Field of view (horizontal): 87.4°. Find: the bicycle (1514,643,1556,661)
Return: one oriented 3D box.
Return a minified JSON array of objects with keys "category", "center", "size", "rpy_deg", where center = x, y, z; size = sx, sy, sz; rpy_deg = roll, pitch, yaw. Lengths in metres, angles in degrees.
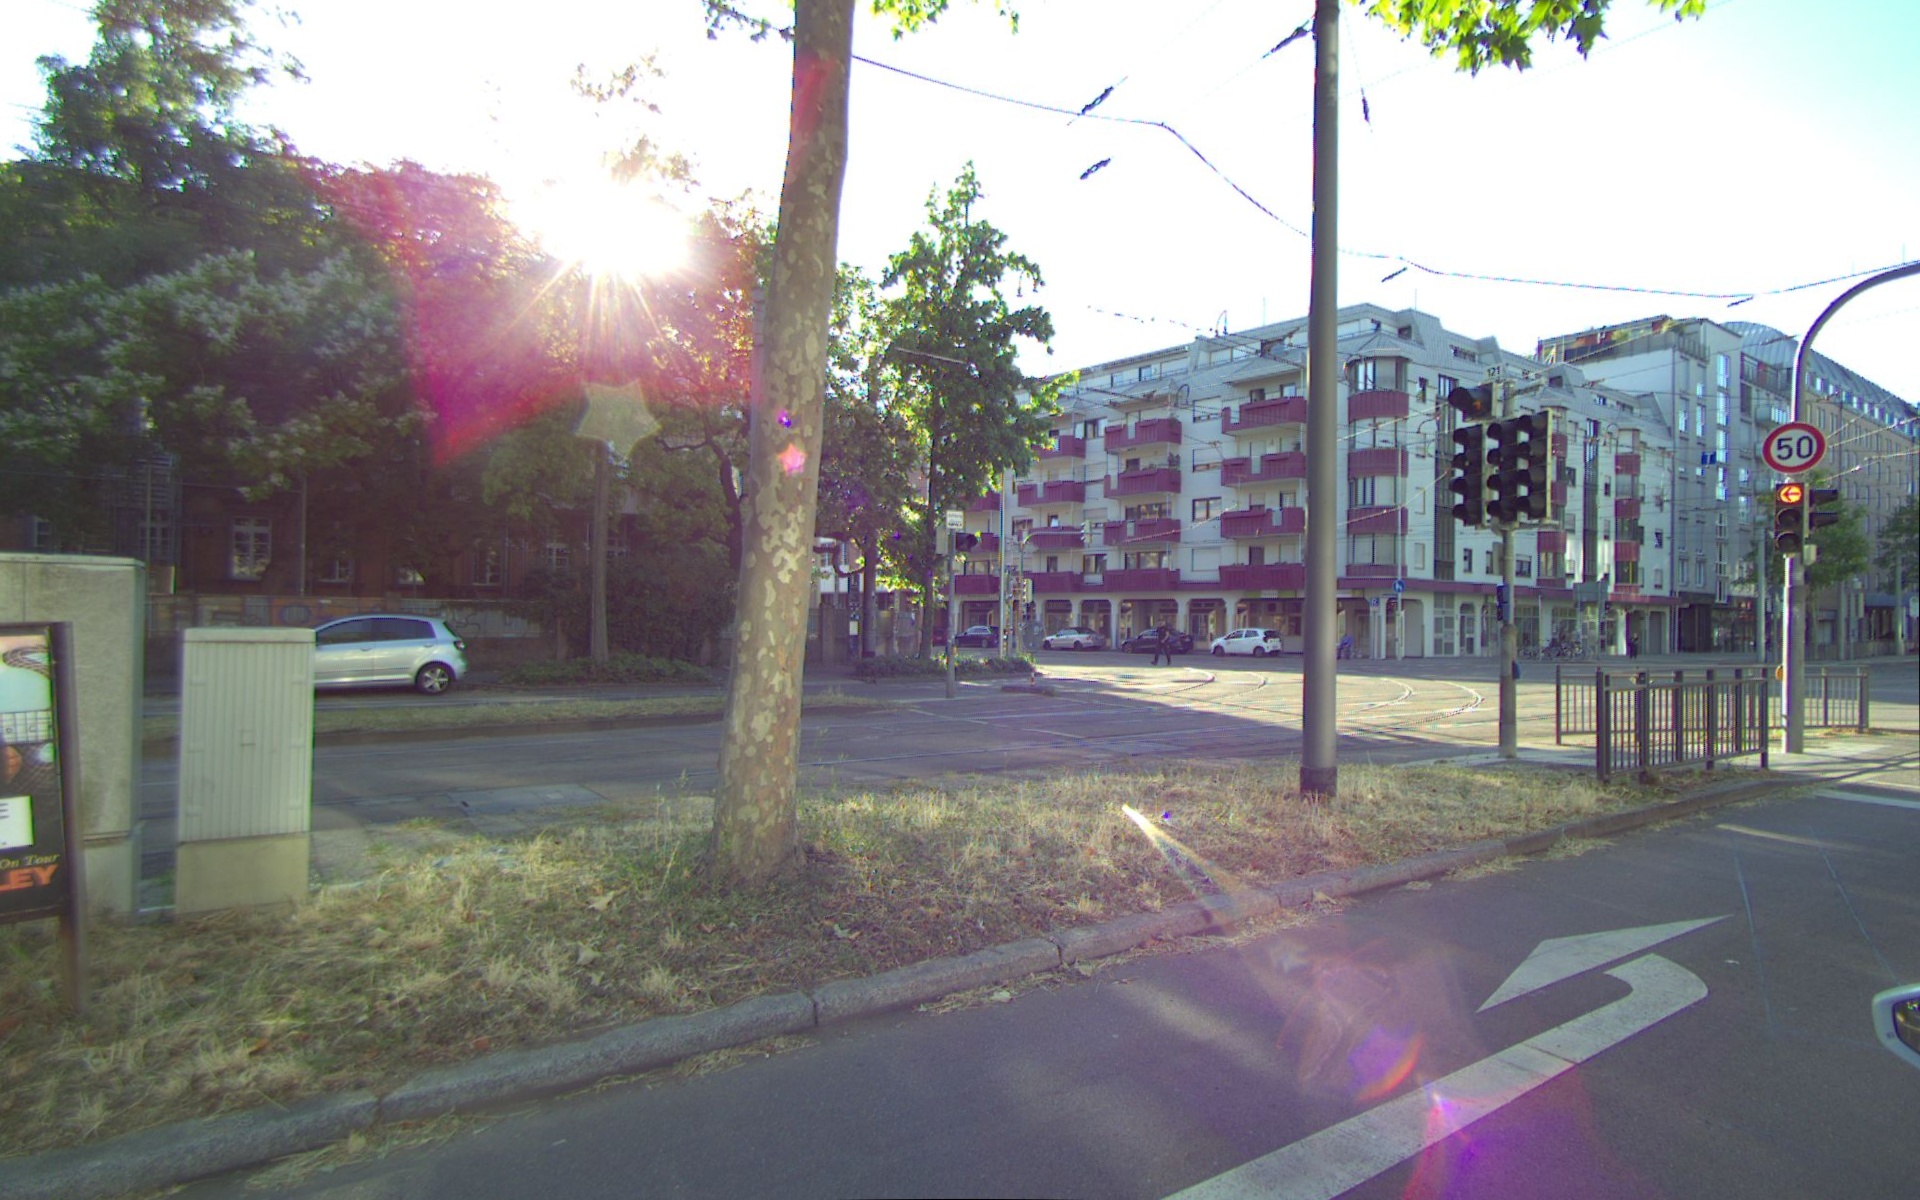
[{"category":"bicycle","center":[29.494,2.682,51.529],"size":[0.547,0.865,1.833],"rpy_deg":[1,-1,-32]}]

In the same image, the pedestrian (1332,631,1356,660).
[{"category":"pedestrian","center":[19.089,2.253,49.950],"size":[0.848,1.402,0.831],"rpy_deg":[0,-1,45]}]

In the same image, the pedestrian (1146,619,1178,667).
[{"category":"pedestrian","center":[7.689,1.632,38.261],"size":[1.010,1.775,0.728],"rpy_deg":[1,-1,-38]}]

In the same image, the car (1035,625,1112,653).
[{"category":"car","center":[6.890,2.347,61.198],"size":[1.986,1.576,4.527],"rpy_deg":[2,-2,-42]}]

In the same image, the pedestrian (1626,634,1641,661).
[{"category":"pedestrian","center":[39.500,2.783,58.882],"size":[0.683,1.564,1.045],"rpy_deg":[0,-1,37]}]

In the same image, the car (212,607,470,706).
[{"category":"car","center":[-12.015,1.037,19.583],"size":[4.062,1.641,2.065],"rpy_deg":[2,1,-38]}]

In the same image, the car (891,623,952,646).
[{"category":"car","center":[-2.808,2.442,72.209],"size":[1.986,1.576,4.527],"rpy_deg":[2,-2,-42]}]

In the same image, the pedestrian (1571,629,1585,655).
[{"category":"pedestrian","center":[36.155,2.460,58.739],"size":[0.582,1.514,0.530],"rpy_deg":[1,-1,-38]}]

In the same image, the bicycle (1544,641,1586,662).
[{"category":"bicycle","center":[31.424,2.669,52.203],"size":[0.548,0.998,1.830],"rpy_deg":[1,-1,-36]}]

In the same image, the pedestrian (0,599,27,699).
[{"category":"pedestrian","center":[-16.656,0.841,17.420],"size":[0.626,1.687,0.563],"rpy_deg":[1,1,-37]}]

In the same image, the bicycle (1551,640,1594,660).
[{"category":"bicycle","center":[31.981,2.616,52.455],"size":[0.548,0.998,1.830],"rpy_deg":[1,-1,-36]}]

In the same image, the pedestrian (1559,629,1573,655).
[{"category":"pedestrian","center":[35.718,2.449,59.168],"size":[0.582,1.514,0.530],"rpy_deg":[1,-1,-38]}]

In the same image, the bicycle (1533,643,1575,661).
[{"category":"bicycle","center":[30.411,2.678,51.449],"size":[0.547,0.865,1.833],"rpy_deg":[1,-1,-32]}]

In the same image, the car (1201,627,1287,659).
[{"category":"car","center":[14.892,2.240,52.766],"size":[1.986,1.576,3.950],"rpy_deg":[2,-2,-42]}]

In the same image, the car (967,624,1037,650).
[{"category":"car","center":[2.724,2.410,66.237],"size":[1.986,1.576,4.527],"rpy_deg":[2,-2,-42]}]

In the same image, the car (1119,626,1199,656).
[{"category":"car","center":[11.162,2.265,56.611],"size":[1.986,1.576,4.072],"rpy_deg":[2,-2,-42]}]
